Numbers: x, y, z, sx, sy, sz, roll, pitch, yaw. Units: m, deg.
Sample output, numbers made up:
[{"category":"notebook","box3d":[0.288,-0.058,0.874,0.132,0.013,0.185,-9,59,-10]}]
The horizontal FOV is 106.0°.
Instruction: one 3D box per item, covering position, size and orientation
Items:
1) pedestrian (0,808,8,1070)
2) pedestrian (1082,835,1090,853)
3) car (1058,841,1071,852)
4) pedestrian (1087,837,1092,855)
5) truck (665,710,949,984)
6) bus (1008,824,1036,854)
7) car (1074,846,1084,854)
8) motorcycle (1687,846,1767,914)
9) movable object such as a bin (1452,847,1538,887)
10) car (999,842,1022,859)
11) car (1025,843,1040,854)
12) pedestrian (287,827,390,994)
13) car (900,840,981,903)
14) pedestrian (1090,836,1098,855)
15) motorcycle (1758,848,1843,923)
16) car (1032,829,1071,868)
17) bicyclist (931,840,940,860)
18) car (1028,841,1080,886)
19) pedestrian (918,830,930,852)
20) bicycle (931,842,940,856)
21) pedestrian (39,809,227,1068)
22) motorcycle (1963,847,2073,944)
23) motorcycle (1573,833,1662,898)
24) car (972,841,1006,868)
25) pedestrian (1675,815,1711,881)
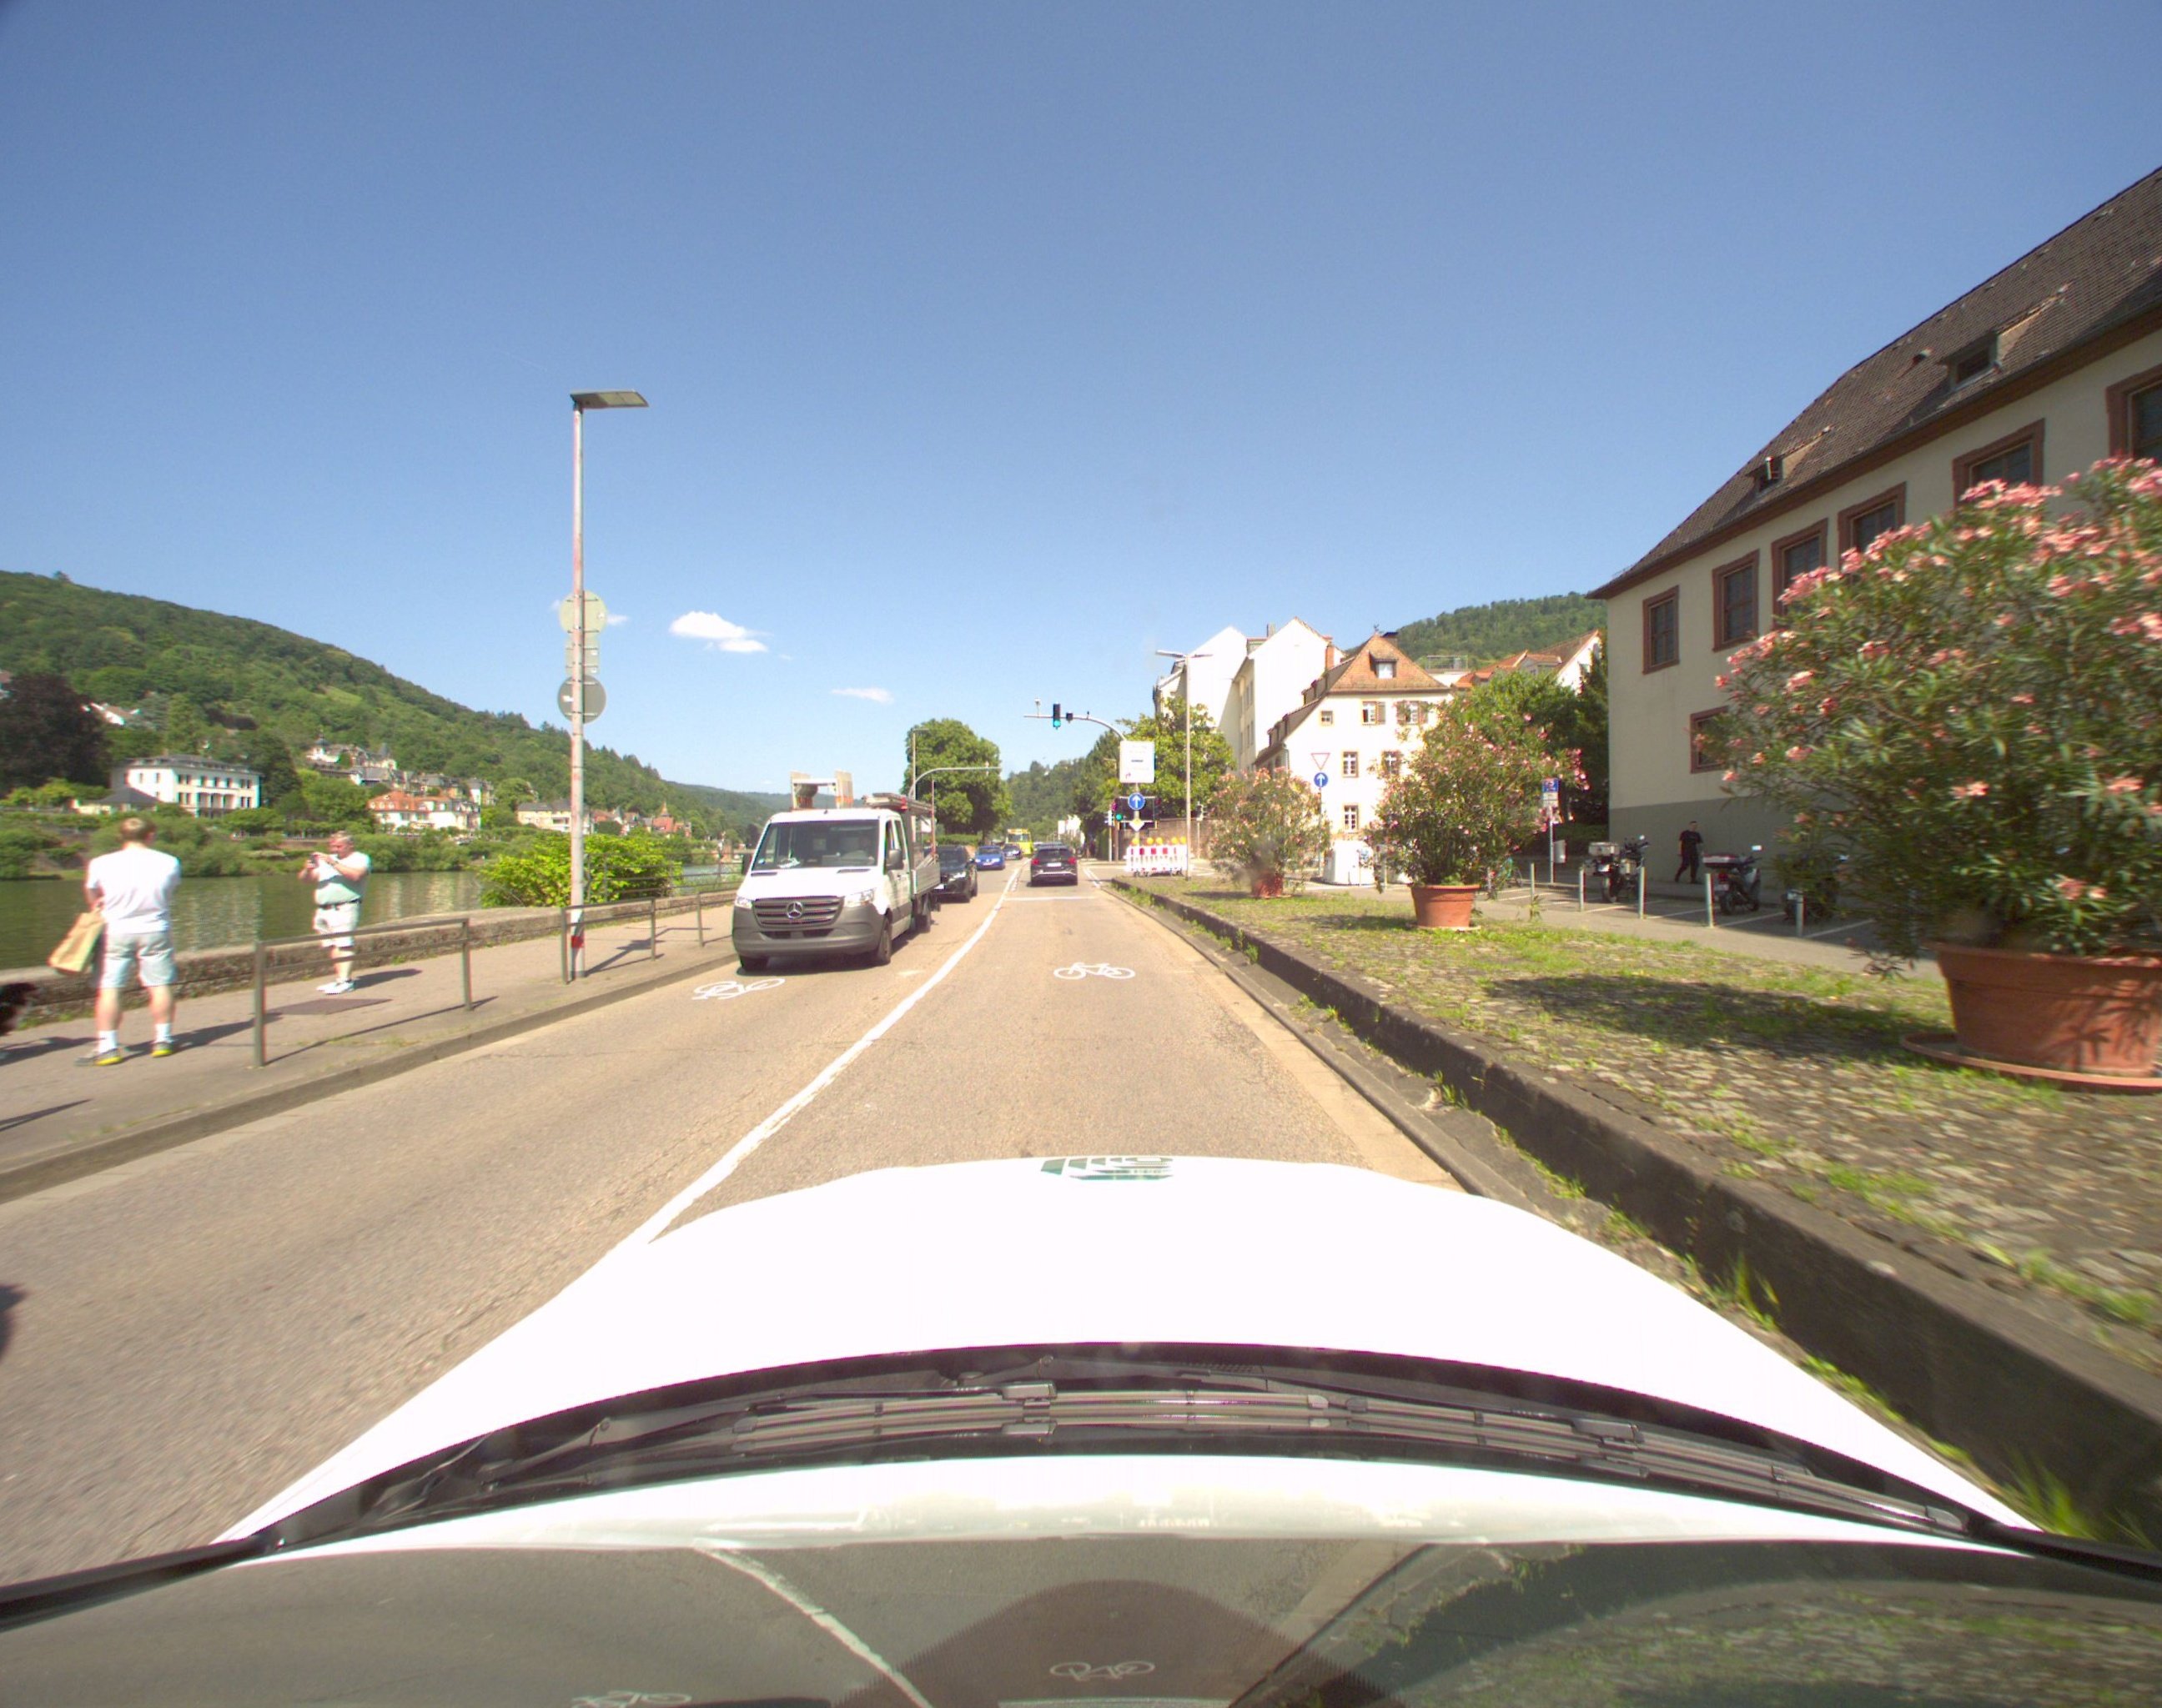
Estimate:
[{"category":"pedestrian","box3d":[-7.832,0.585,5.378,0.537,1.793,0.827,0,0,28]},{"category":"pedestrian","box3d":[0.497,-0.966,76.556,0.733,1.634,0.920,-1,1,-1]},{"category":"car","box3d":[-2.367,-1.089,116.636,1.790,1.482,3.998,0,0,-1]},{"category":"pedestrian","box3d":[0.803,-0.738,74.523,0.454,1.606,0.579,0,0,-1]},{"category":"truck","box3d":[-4.001,-0.140,13.925,2.370,3.261,7.604,-3,1,-2]},{"category":"bus","box3d":[-6.167,-1.600,86.002,2.590,2.896,8.441,-1,1,-2]},{"category":"car","box3d":[-0.368,-0.785,158.994,1.987,1.453,4.007,-1,-1,-1]},{"category":"motorcycle","box3d":[13.334,0.497,16.782,2.245,1.252,0.622,-2,3,-34]},{"category":"movable object such as a bin","box3d":[12.702,0.372,24.940,2.971,1.110,1.244,-2,1,-39]},{"category":"car","box3d":[-6.200,-0.326,71.980,1.805,1.406,4.352,-1,1,-3]},{"category":"car","box3d":[-6.507,-0.787,110.470,1.810,1.398,4.345,-2,1,-1]},{"category":"pedestrian","box3d":[-8.029,0.574,8.839,0.760,1.722,0.538,0,0,-36]},{"category":"car","box3d":[-4.192,0.468,24.994,1.859,1.681,4.449,-2,1,-3]},{"category":"pedestrian","box3d":[1.130,-0.774,73.191,0.679,1.742,0.912,0,0,-1]},{"category":"motorcycle","box3d":[13.346,0.550,15.089,2.206,1.267,0.622,-1,0,-34]},{"category":"car","box3d":[-1.614,-0.252,44.352,1.989,2.014,3.995,-1,-1,-3]},{"category":"bicyclist","box3d":[-11.828,-0.308,66.313,0.667,1.631,0.976,-2,0,-11]},{"category":"car","box3d":[-1.028,0.317,31.782,1.852,1.523,3.998,-1,2,-2]},{"category":"pedestrian","box3d":[-13.587,-1.121,70.511,0.751,1.918,1.009,-1,-1,-1]},{"category":"bicycle","box3d":[-11.825,-0.396,66.314,0.667,1.113,2.026,-2,1,-11]},{"category":"pedestrian","box3d":[-7.088,0.580,6.113,0.515,1.793,0.827,0,0,28]},{"category":"motorcycle","box3d":[13.655,0.557,11.851,2.192,1.267,0.775,-1,0,-34]},{"category":"motorcycle","box3d":[13.252,0.278,20.089,2.508,1.533,1.042,0,-1,-36]},{"category":"car","box3d":[-5.375,-0.002,47.943,1.805,1.508,3.994,-1,1,-4]},{"category":"pedestrian","box3d":[17.346,-0.168,23.092,0.493,1.823,0.618,-1,-1,-1]}]
